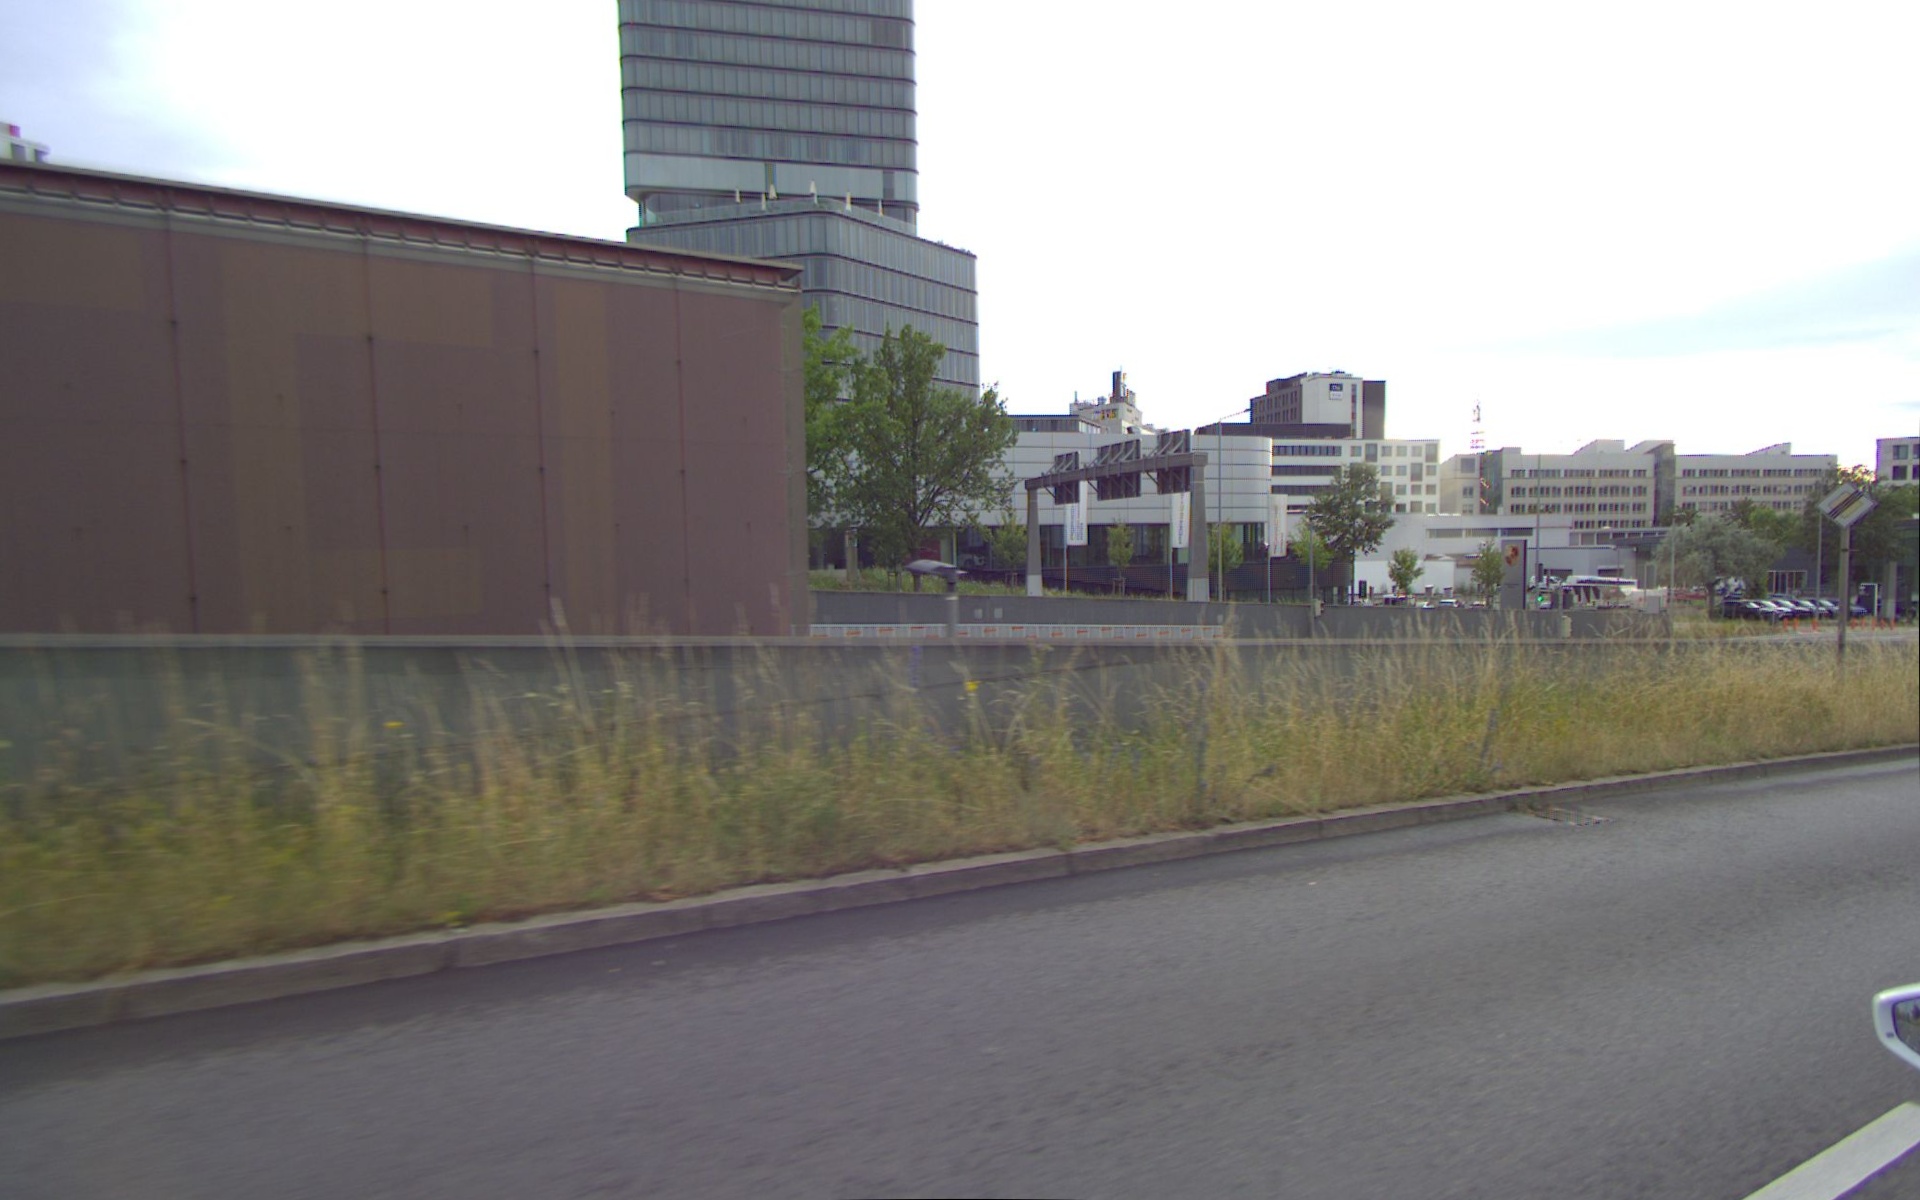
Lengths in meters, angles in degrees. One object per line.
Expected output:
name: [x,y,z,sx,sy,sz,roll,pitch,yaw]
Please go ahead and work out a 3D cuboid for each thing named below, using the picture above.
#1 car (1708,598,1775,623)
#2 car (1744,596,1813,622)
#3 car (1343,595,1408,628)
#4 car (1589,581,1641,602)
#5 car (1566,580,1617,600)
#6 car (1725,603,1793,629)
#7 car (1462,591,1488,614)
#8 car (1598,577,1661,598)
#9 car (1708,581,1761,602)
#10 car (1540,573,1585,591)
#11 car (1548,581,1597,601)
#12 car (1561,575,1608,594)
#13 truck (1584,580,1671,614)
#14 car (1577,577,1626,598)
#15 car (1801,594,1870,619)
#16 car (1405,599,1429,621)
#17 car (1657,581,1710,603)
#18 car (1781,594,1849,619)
car: [63.837,0.803,82.110,1.672,1.622,3.996,-2,5,-18]
car: [68.029,0.700,83.561,1.893,1.707,3.983,-2,5,-18]
car: [38.932,1.058,94.254,2.502,2.524,5.113,-4,6,-29]
car: [61.512,-0.833,94.337,3.932,1.707,1.917,-2,5,-14]
car: [61.068,-0.966,97.192,3.932,1.707,1.917,-2,5,-14]
car: [65.840,1.283,82.862,1.893,1.707,3.983,-2,5,-18]
car: [51.732,0.261,100.950,1.961,1.908,3.997,2,6,22]
car: [66.909,-1.229,100.461,5.441,1.907,1.994,0,5,-14]
car: [77.138,-0.879,100.069,3.941,1.807,1.913,4,7,41]
car: [64.945,-1.977,108.253,3.932,1.707,1.917,-2,5,-14]
car: [60.510,-0.865,99.302,3.932,1.707,1.917,-2,5,-14]
car: [65.421,-1.639,105.241,3.932,1.707,1.917,-2,5,-14]
truck: [60.191,-0.294,90.576,7.291,2.563,2.364,-2,6,-17]
car: [65.513,-1.331,102.576,3.931,1.908,1.994,-2,5,-13]
car: [74.731,0.566,85.836,1.893,1.707,3.983,-2,5,-18]
car: [44.872,0.984,98.640,1.961,1.707,3.997,2,6,22]
car: [68.504,-0.779,95.153,3.931,1.908,1.902,-2,5,-14]
car: [72.494,0.492,85.236,1.893,1.707,3.983,-2,5,-18]
